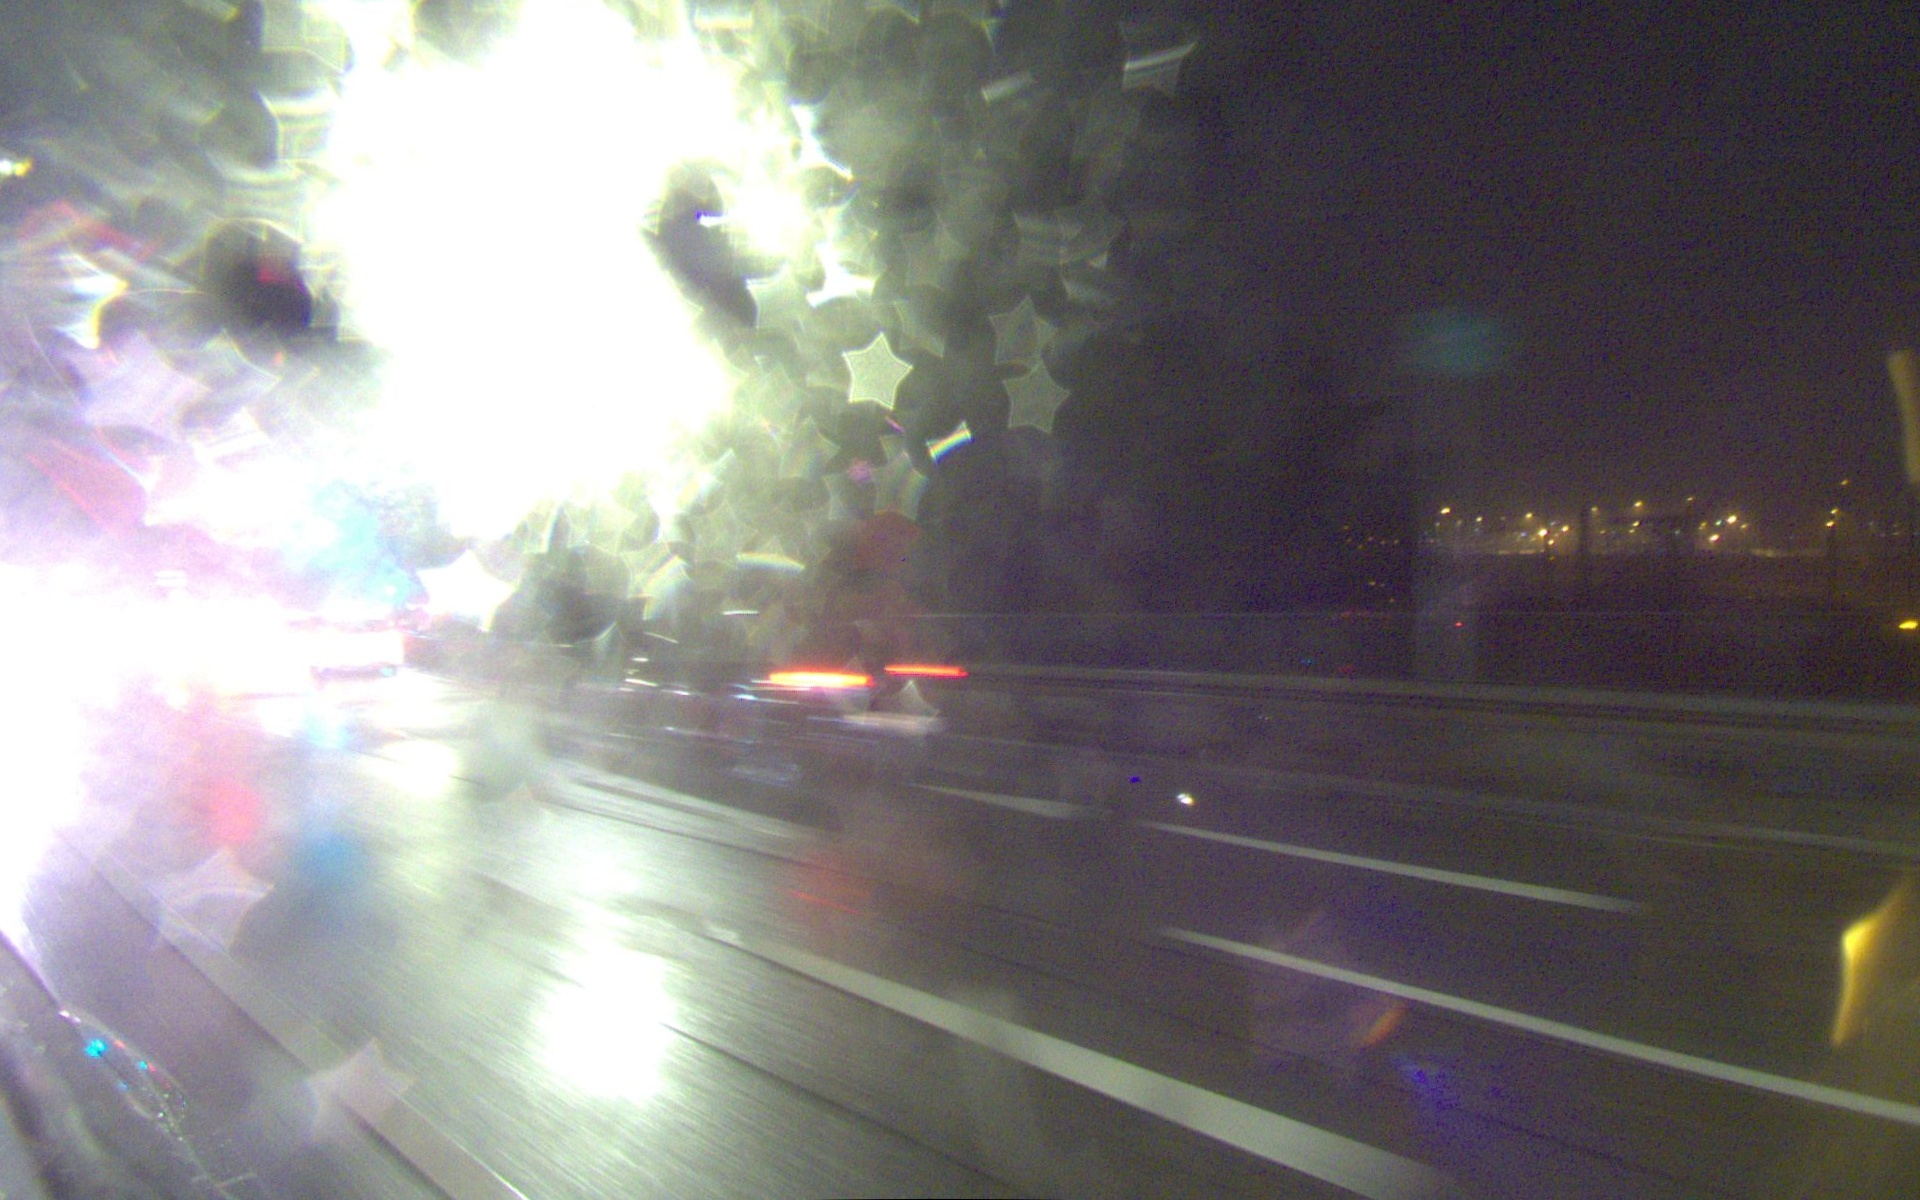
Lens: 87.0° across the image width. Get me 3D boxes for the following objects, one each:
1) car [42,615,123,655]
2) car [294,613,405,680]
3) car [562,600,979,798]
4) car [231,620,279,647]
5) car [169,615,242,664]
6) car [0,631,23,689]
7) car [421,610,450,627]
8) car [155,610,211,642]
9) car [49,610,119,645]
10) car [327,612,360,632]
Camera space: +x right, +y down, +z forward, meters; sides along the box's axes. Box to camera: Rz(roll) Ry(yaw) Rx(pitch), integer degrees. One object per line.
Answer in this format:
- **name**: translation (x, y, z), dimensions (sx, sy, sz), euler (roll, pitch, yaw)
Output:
- **car**: translation (-47.966, 1.865, 55.437), dimensions (1.966, 2.029, 4.012), euler (-2, 0, -19)
- **car**: translation (-15.396, 1.119, 25.424), dimensions (1.745, 1.529, 3.954), euler (0, -1, -41)
- **car**: translation (-1.944, 0.759, 9.461), dimensions (4.221, 1.438, 1.746), euler (-1, -2, 45)
- **car**: translation (-56.303, 2.670, 80.902), dimensions (1.839, 2.029, 4.011), euler (-2, 0, -15)
- **car**: translation (-28.559, 1.437, 38.418), dimensions (1.972, 1.687, 4.629), euler (-2, 0, -34)
- **car**: translation (-40.646, 2.559, 41.899), dimensions (1.968, 2.027, 4.011), euler (-7, 7, -35)
- **car**: translation (-51.229, 1.827, 99.002), dimensions (1.957, 1.617, 4.849), euler (0, -1, -21)
- **car**: translation (-52.602, 1.774, 68.598), dimensions (1.838, 2.029, 4.013), euler (-2, 0, -20)
- **car**: translation (-54.607, 1.701, 63.169), dimensions (1.838, 2.029, 4.012), euler (-2, 0, -17)
- **car**: translation (-65.028, 2.324, 106.841), dimensions (1.839, 2.029, 4.011), euler (-2, 0, -14)
